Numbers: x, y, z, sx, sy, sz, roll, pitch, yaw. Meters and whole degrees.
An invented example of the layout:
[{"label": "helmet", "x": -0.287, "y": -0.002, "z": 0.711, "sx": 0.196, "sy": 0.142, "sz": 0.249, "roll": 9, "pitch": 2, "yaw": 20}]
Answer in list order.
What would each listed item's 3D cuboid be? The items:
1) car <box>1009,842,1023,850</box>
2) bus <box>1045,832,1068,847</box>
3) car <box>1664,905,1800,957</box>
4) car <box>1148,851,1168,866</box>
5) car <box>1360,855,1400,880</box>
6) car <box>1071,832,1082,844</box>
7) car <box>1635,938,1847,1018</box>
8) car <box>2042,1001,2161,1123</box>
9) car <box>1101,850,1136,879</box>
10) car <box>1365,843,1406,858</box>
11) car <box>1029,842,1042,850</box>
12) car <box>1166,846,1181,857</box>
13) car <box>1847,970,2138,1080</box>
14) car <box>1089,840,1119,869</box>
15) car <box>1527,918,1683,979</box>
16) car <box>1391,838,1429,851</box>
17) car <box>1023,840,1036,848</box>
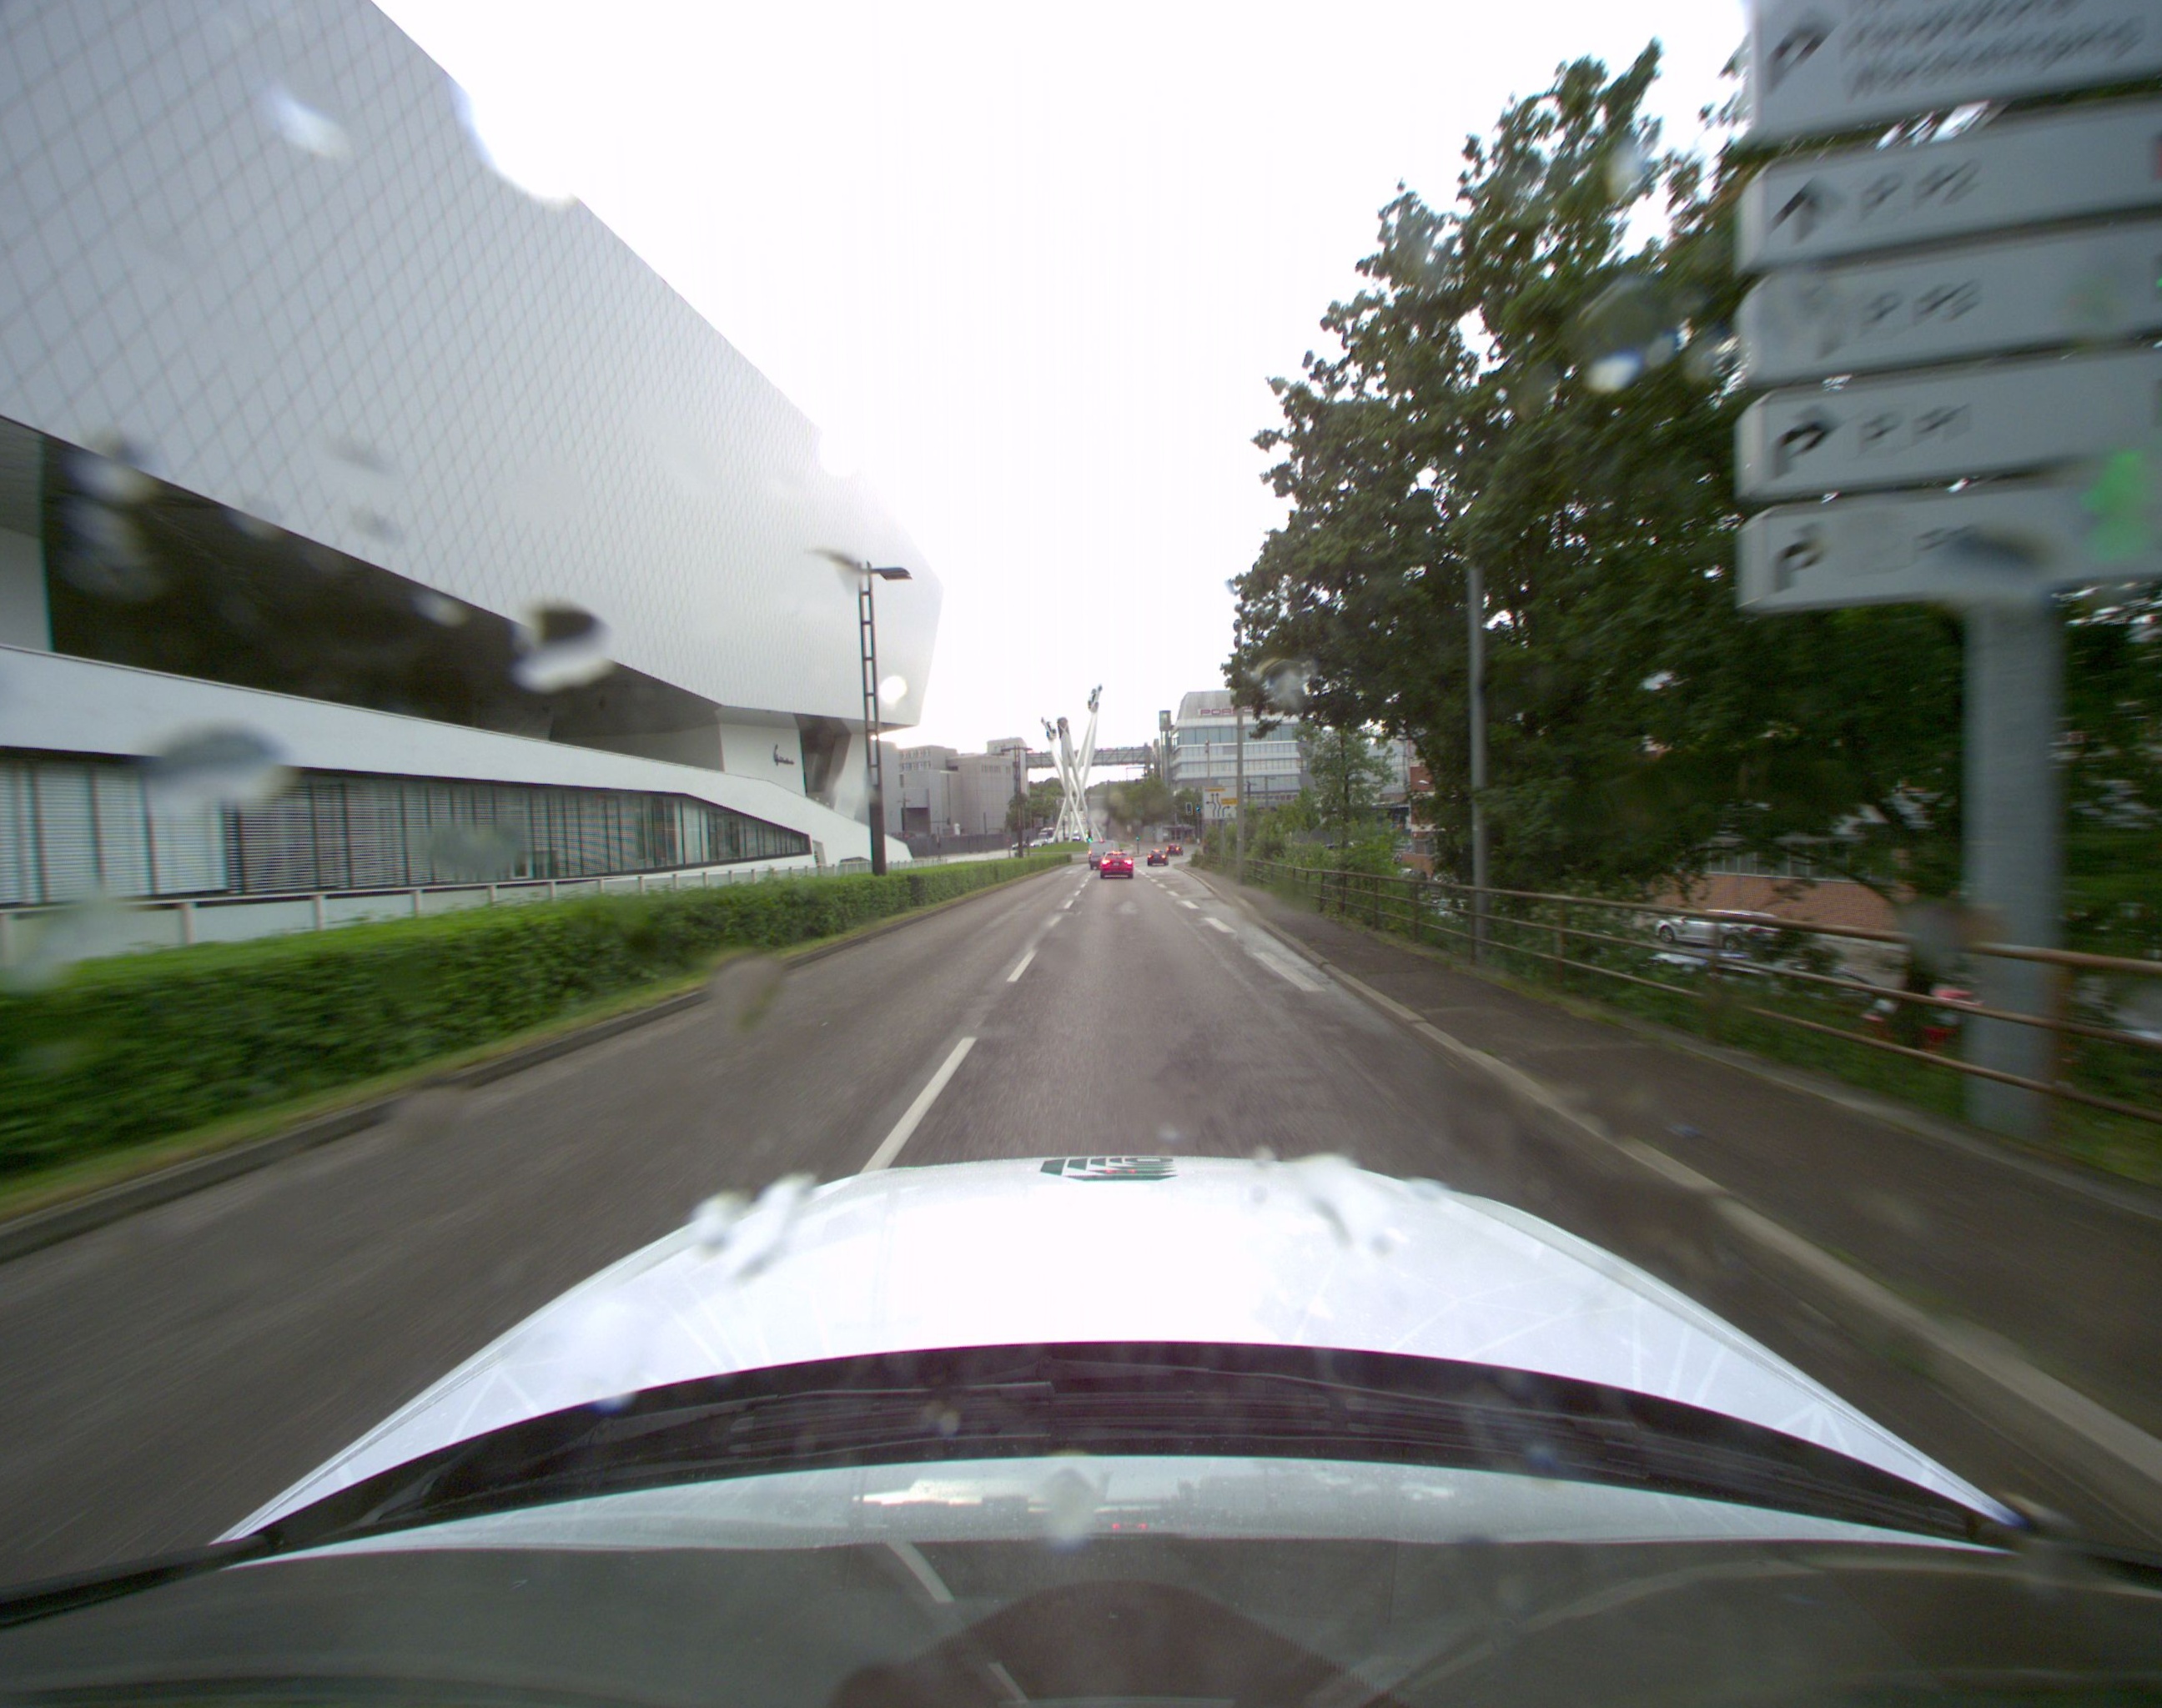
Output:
[{"label": "car", "x": -12.207, "y": -1.486, "z": 153.516, "sx": 1.825, "sy": 1.472, "sz": 4.519, "roll": -2, "pitch": 1, "yaw": 4}, {"label": "bus", "x": -5.566, "y": -3.379, "z": 188.806, "sx": 2.652, "sy": 3.200, "sz": 12.709, "roll": -1, "pitch": 1, "yaw": 11}, {"label": "car", "x": 24.213, "y": 2.810, "z": 30.467, "sx": 1.697, "sy": 1.486, "sz": 3.846, "roll": -2, "pitch": 1, "yaw": -8}, {"label": "car", "x": 6.888, "y": 0.407, "z": 73.198, "sx": 1.604, "sy": 1.291, "sz": 3.568, "roll": -2, "pitch": 0, "yaw": 2}, {"label": "car", "x": 23.332, "y": 1.037, "z": 63.634, "sx": 1.691, "sy": 1.609, "sz": 4.267, "roll": 0, "pitch": 3, "yaw": 2}, {"label": "car", "x": -0.919, "y": -3.295, "z": 168.623, "sx": 1.985, "sy": 2.447, "sz": 5.433, "roll": -2, "pitch": 1, "yaw": 4}, {"label": "car", "x": 14.970, "y": 2.800, "z": 18.587, "sx": 3.543, "sy": 1.306, "sz": 1.549, "roll": 5, "pitch": 0, "yaw": -2}, {"label": "car", "x": 15.407, "y": 2.870, "z": 10.895, "sx": 3.843, "sy": 1.306, "sz": 1.545, "roll": 5, "pitch": 0, "yaw": -10}, {"label": "car", "x": 2.008, "y": 0.542, "z": 44.008, "sx": 1.766, "sy": 1.464, "sz": 3.734, "roll": -2, "pitch": 0, "yaw": 2}, {"label": "car", "x": 31.876, "y": -0.373, "z": 85.350, "sx": 1.836, "sy": 1.530, "sz": 4.137, "roll": -1, "pitch": 1, "yaw": -21}, {"label": "car", "x": -8.600, "y": -1.524, "z": 153.393, "sx": 1.836, "sy": 1.338, "sz": 4.007, "roll": -2, "pitch": 1, "yaw": 5}, {"label": "car", "x": 11.940, "y": -0.327, "z": 105.079, "sx": 1.551, "sy": 1.288, "sz": 3.415, "roll": -2, "pitch": 0, "yaw": 2}, {"label": "car", "x": 15.165, "y": 2.828, "z": 13.621, "sx": 3.552, "sy": 1.306, "sz": 1.545, "roll": 5, "pitch": 0, "yaw": -9}, {"label": "car", "x": 1.792, "y": 0.031, "z": 64.826, "sx": 2.224, "sy": 2.107, "sz": 4.956, "roll": -2, "pitch": 0, "yaw": 1}, {"label": "car", "x": 15.267, "y": 2.748, "z": 23.845, "sx": 3.543, "sy": 1.306, "sz": 1.549, "roll": 5, "pitch": 0, "yaw": -2}, {"label": "car", "x": 40.404, "y": -1.196, "z": 100.071, "sx": 3.932, "sy": 1.601, "sz": 1.923, "roll": 1, "pitch": 2, "yaw": 44}, {"label": "car", "x": -10.056, "y": -1.956, "z": 159.795, "sx": 1.825, "sy": 1.472, "sz": 4.519, "roll": -2, "pitch": 1, "yaw": 4}]
